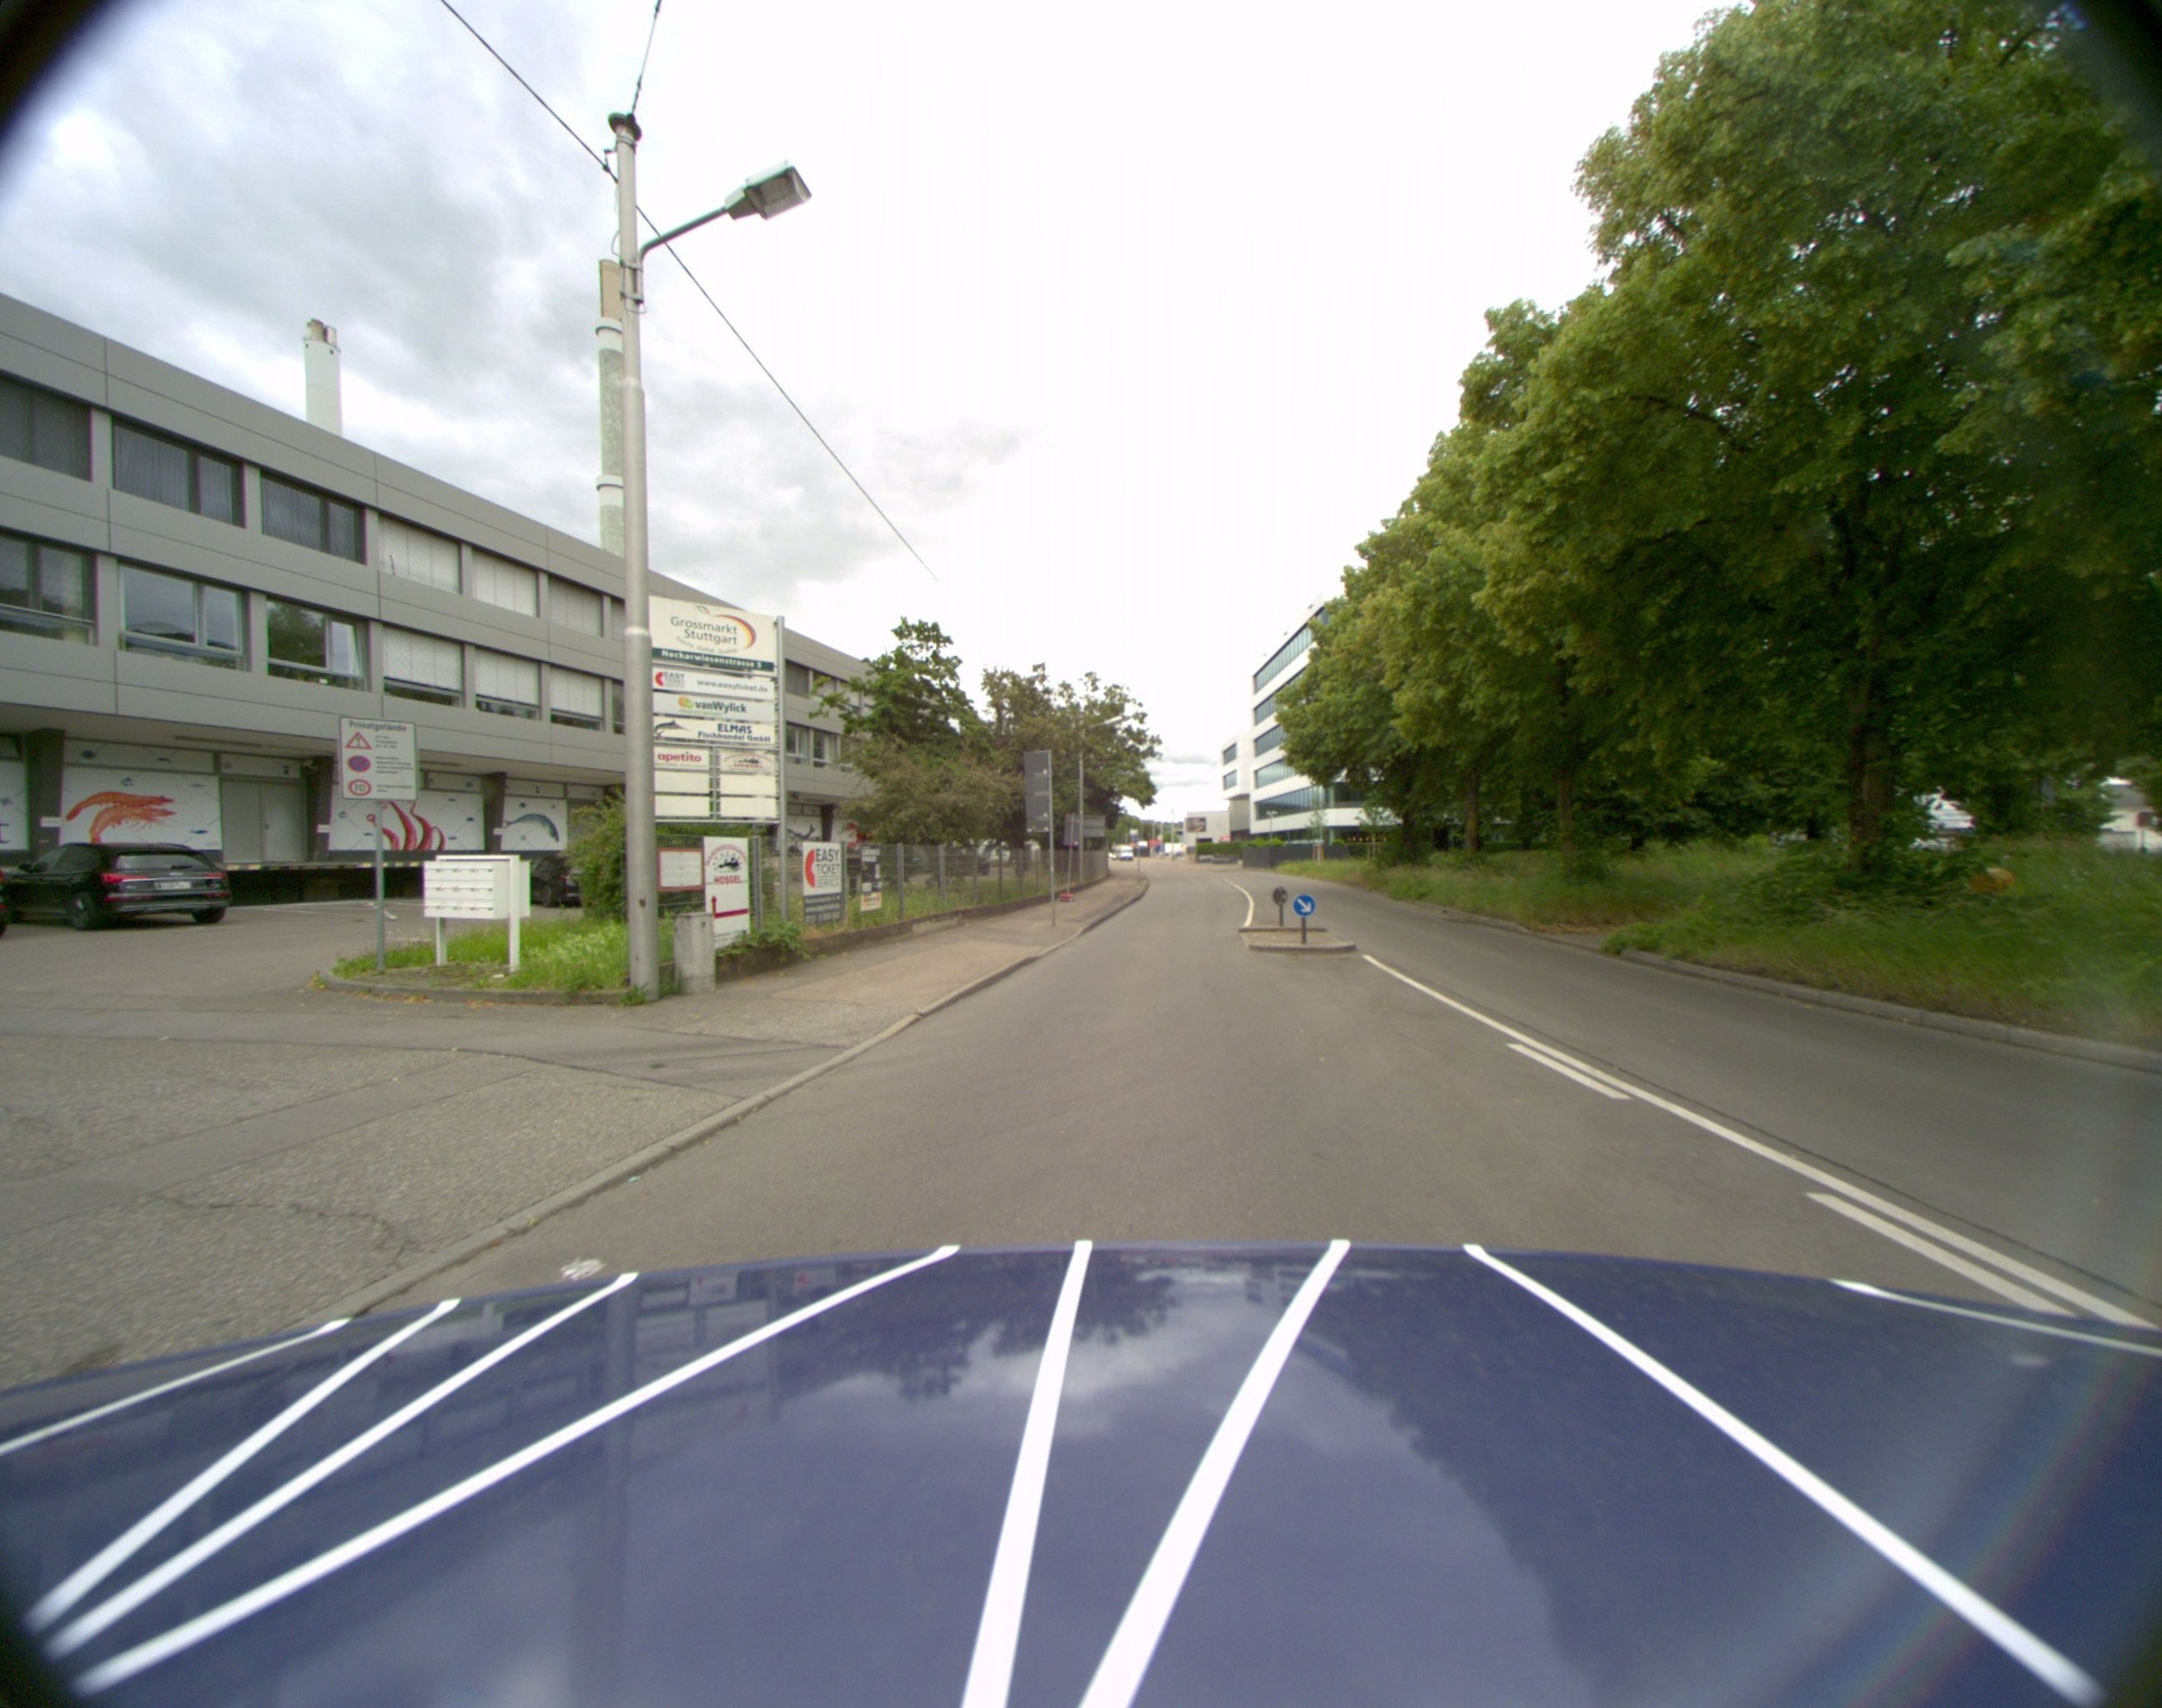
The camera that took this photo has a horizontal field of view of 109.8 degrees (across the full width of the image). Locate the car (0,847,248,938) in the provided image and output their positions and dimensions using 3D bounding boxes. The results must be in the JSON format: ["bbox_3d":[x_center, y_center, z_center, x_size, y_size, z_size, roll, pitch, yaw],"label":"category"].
[{"bbox_3d":[-19.525,0.695,15.440,4.413,1.609,1.841,1,1,18],"label":"car"}]

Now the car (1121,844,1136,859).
[{"bbox_3d":[8.132,-0.434,131.257,2.387,2.445,6.101,-1,1,3],"label":"car"}]

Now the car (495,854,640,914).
[{"bbox_3d":[-15.341,0.798,22.638,4.814,1.437,2.055,2,2,36],"label":"car"}]

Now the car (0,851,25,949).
[{"bbox_3d":[-20.324,0.739,12.739,4.455,1.609,1.841,1,1,19],"label":"car"}]

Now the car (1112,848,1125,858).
[{"bbox_3d":[7.171,-0.201,144.295,2.387,1.859,5.207,-1,1,3],"label":"car"}]
